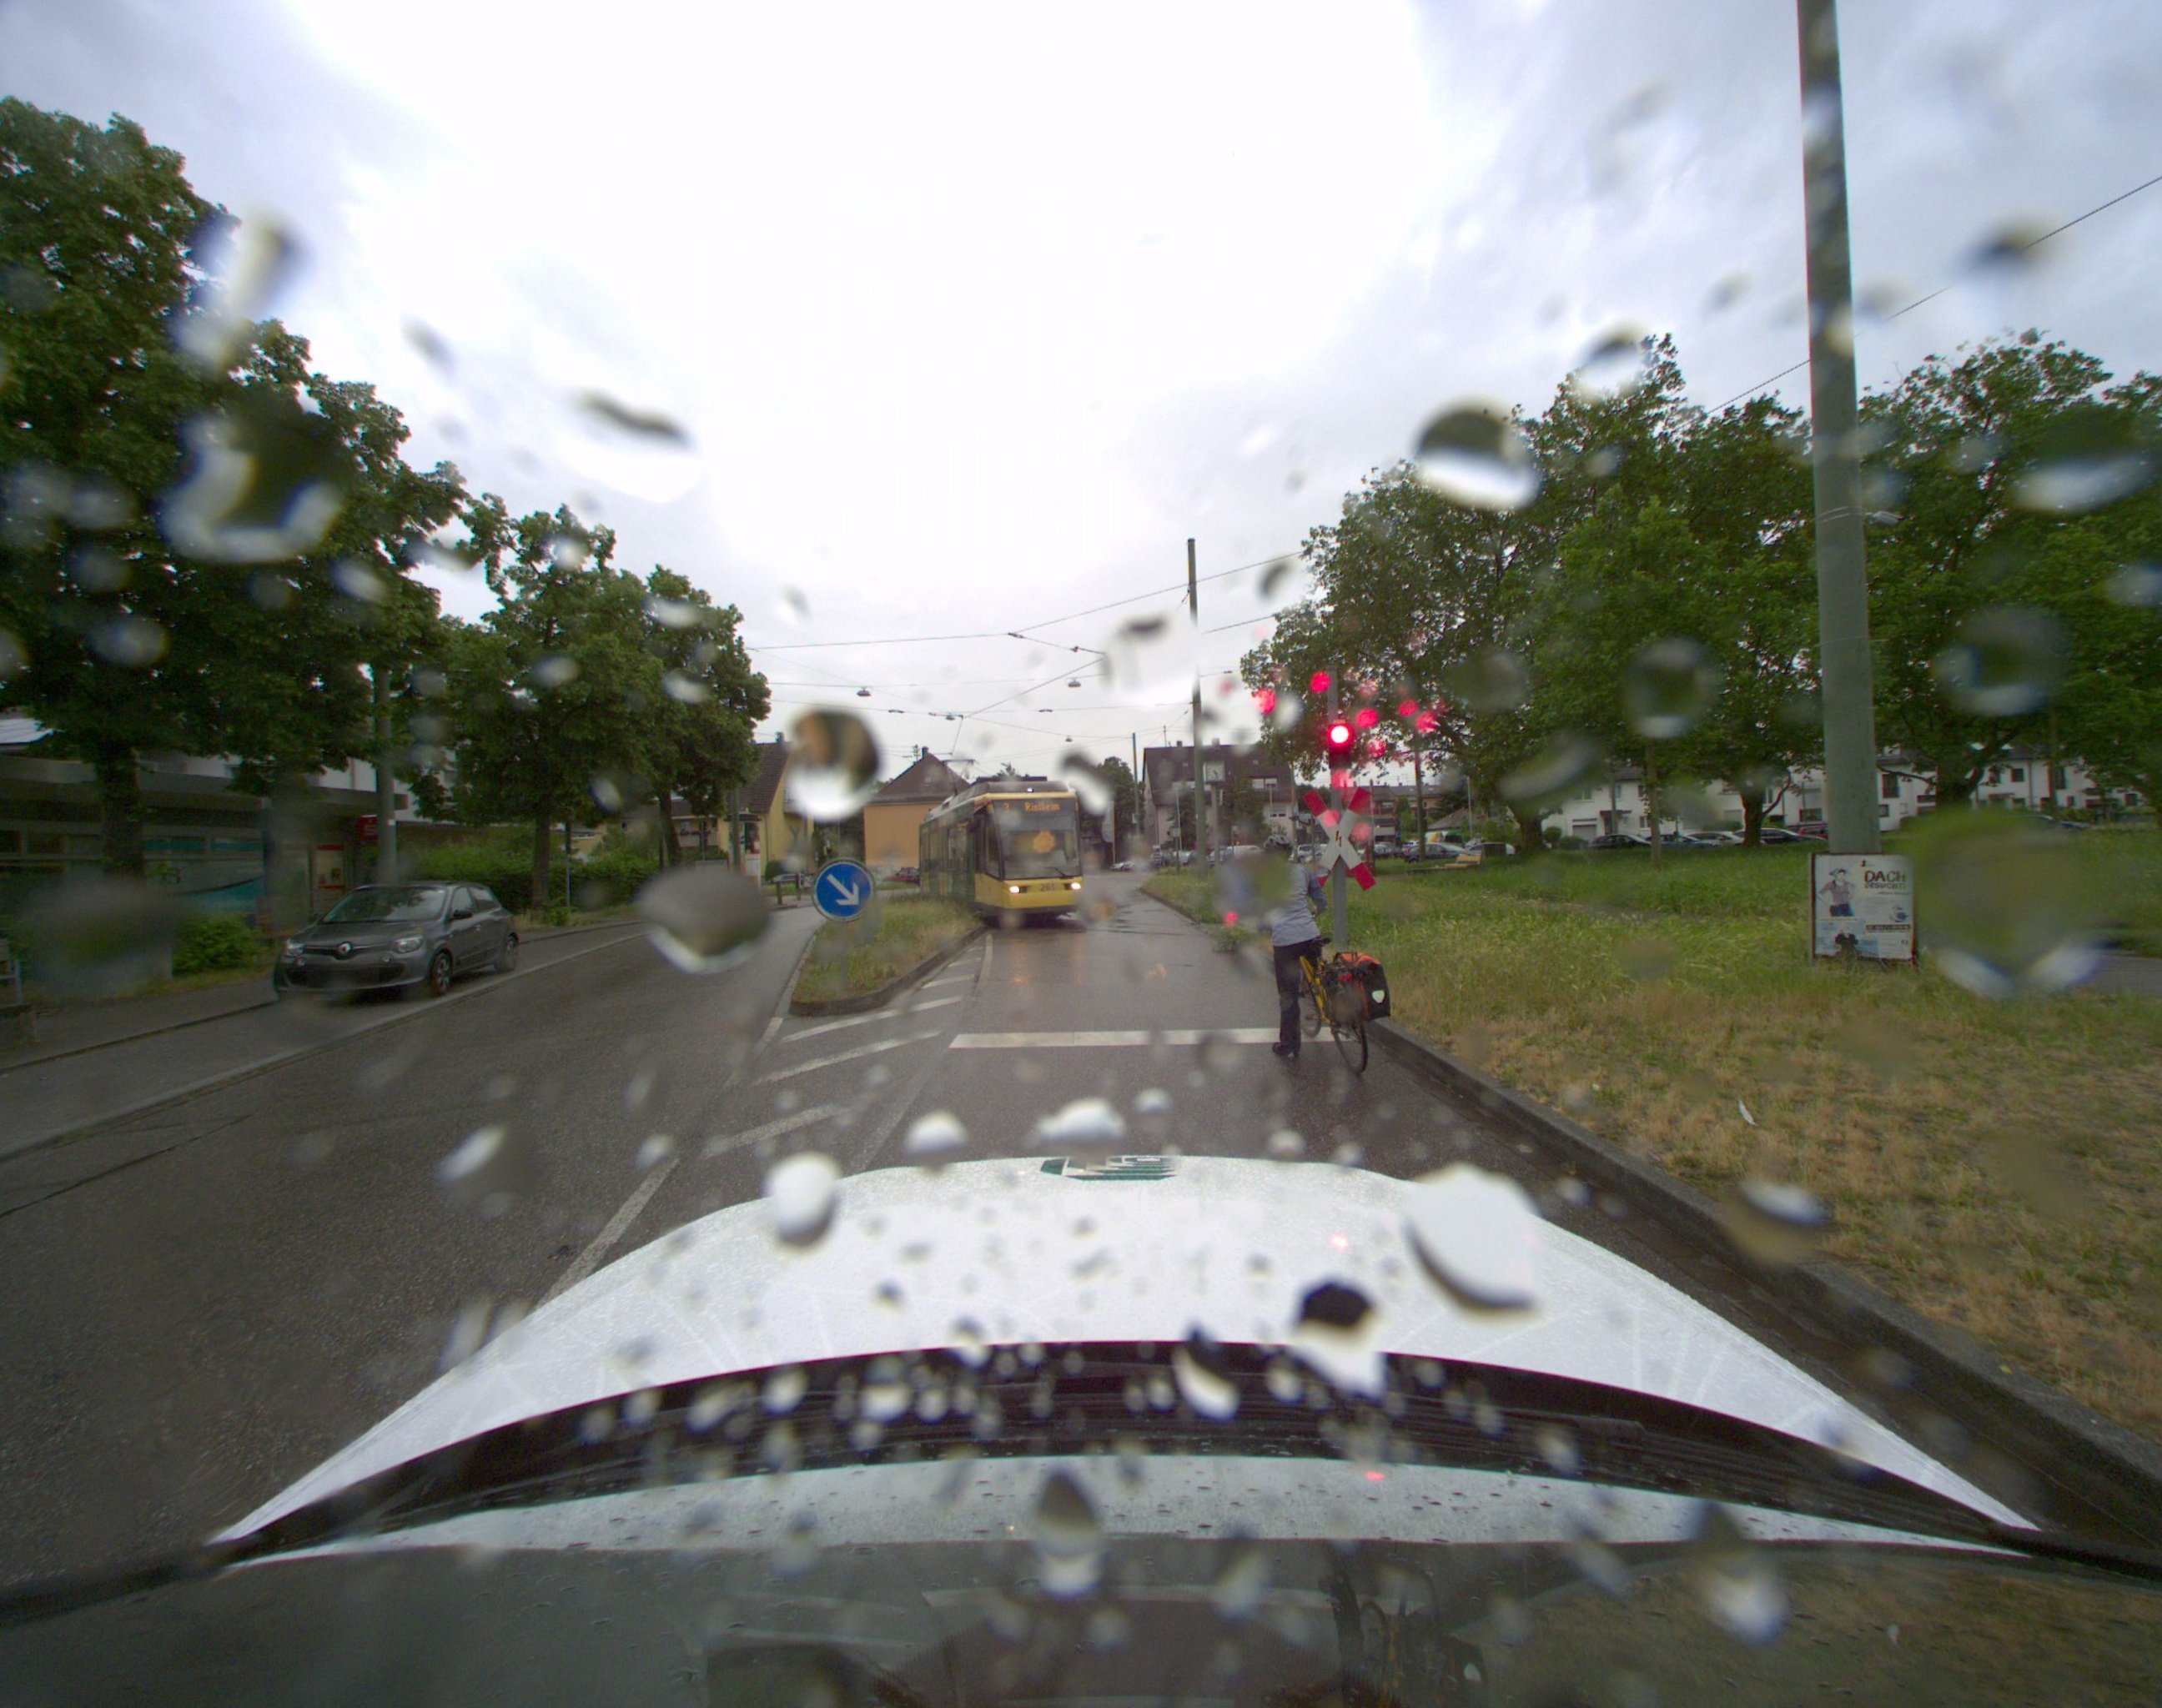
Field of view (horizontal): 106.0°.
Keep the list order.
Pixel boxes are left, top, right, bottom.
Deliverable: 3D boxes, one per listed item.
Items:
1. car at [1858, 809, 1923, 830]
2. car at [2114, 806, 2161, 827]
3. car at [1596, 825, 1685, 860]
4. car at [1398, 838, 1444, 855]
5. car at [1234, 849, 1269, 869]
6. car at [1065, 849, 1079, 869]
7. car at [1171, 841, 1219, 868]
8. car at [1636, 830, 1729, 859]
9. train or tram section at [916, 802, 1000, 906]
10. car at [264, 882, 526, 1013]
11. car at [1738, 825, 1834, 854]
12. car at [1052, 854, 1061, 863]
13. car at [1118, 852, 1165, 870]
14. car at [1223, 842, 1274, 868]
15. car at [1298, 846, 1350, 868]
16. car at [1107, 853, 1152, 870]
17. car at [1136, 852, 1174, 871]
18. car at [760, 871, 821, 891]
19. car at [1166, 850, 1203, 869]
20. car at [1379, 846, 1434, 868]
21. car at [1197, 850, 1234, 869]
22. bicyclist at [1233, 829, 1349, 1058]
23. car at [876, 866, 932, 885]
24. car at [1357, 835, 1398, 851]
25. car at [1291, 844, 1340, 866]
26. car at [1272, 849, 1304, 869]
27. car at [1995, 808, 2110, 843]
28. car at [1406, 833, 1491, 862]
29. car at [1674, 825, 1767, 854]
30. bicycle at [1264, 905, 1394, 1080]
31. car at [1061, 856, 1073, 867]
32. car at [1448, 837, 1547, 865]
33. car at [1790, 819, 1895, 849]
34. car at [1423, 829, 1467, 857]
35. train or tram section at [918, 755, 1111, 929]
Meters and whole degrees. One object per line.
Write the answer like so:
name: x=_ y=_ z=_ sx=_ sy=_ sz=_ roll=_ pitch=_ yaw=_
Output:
car: x=70.001 y=-2.993 z=70.454 sx=3.670 sy=1.660 sz=1.891 roll=0 pitch=-1 yaw=2
car: x=89.730 y=-3.157 z=68.332 sx=3.670 sy=1.660 sz=1.891 roll=0 pitch=-1 yaw=2
car: x=30.544 y=-0.608 z=44.533 sx=1.821 sy=1.798 sz=3.721 roll=0 pitch=-1 yaw=-44
car: x=35.427 y=-0.770 z=84.946 sx=3.971 sy=1.640 sz=1.847 roll=0 pitch=-1 yaw=2
car: x=14.746 y=0.463 z=70.391 sx=1.975 sy=1.640 sz=4.024 roll=-1 pitch=-1 yaw=27
car: x=-1.129 y=0.682 z=108.276 sx=1.799 sy=2.627 sz=3.999 roll=0 pitch=-1 yaw=0
car: x=11.183 y=0.029 z=79.717 sx=4.362 sy=2.566 sz=2.008 roll=-1 pitch=-1 yaw=16
car: x=33.206 y=-0.472 z=44.991 sx=1.821 sy=1.495 sz=3.867 roll=0 pitch=-1 yaw=-44
train or tram section: x=-4.808 y=0.016 z=31.091 sx=2.762 sy=3.553 sz=4.968 roll=-2 pitch=0 yaw=-12
car: x=-9.681 y=1.200 z=11.878 sx=1.621 sy=1.496 sz=3.645 roll=0 pitch=-1 yaw=-18
car: x=39.268 y=-0.777 z=45.409 sx=1.821 sy=1.495 sz=3.867 roll=0 pitch=-1 yaw=-44
car: x=-4.931 y=0.936 z=164.999 sx=1.799 sy=1.811 sz=3.999 roll=0 pitch=-1 yaw=0
car: x=5.717 y=0.663 z=76.896 sx=4.015 sy=1.675 sz=1.979 roll=0 pitch=-1 yaw=-34
car: x=15.632 y=0.081 z=76.040 sx=4.381 sy=2.325 sz=1.999 roll=0 pitch=-1 yaw=-1
car: x=19.317 y=0.261 z=64.809 sx=3.670 sy=1.701 sz=1.891 roll=0 pitch=-1 yaw=2
car: x=4.747 y=0.766 z=79.989 sx=4.015 sy=1.643 sz=1.979 roll=0 pitch=-1 yaw=-34
car: x=6.653 y=0.655 z=72.780 sx=1.975 sy=1.640 sz=4.024 roll=-1 pitch=-1 yaw=27
car: x=-22.104 y=2.046 z=62.026 sx=3.979 sy=1.456 sz=1.831 roll=0 pitch=-1 yaw=-5
car: x=9.099 y=0.515 z=71.476 sx=1.975 sy=1.640 sz=4.024 roll=-1 pitch=-1 yaw=27
car: x=25.898 y=0.215 z=64.953 sx=3.670 sy=1.701 sz=1.891 roll=0 pitch=-1 yaw=2
car: x=11.631 y=0.484 z=70.246 sx=1.975 sy=1.640 sz=4.024 roll=-1 pitch=-1 yaw=27
bicyclist: x=1.576 y=0.640 z=6.222 sx=0.665 sy=1.626 sz=0.853 roll=0 pitch=-1 yaw=0
car: x=-13.658 y=1.666 z=63.071 sx=3.979 sy=1.456 sz=1.831 roll=0 pitch=-1 yaw=-5
car: x=33.146 y=-1.224 z=91.037 sx=3.968 sy=1.791 sz=2.002 roll=0 pitch=-1 yaw=4
car: x=21.814 y=0.091 z=75.928 sx=3.974 sy=1.951 sz=1.999 roll=0 pitch=-1 yaw=-1
car: x=17.980 y=0.443 z=70.704 sx=1.823 sy=1.640 sz=4.024 roll=-1 pitch=-1 yaw=27
car: x=54.638 y=-1.574 z=45.860 sx=1.815 sy=1.765 sz=3.879 roll=0 pitch=-1 yaw=-29
car: x=20.159 y=-0.318 z=44.799 sx=1.821 sy=1.495 sz=3.867 roll=0 pitch=-1 yaw=-44
car: x=35.710 y=-0.750 z=45.521 sx=1.821 sy=1.495 sz=3.867 roll=0 pitch=-1 yaw=-44
bicycle: x=1.798 y=0.949 z=6.138 sx=0.444 sy=1.004 sz=1.728 roll=-2 pitch=0 yaw=1
car: x=-2.229 y=1.169 z=128.187 sx=1.799 sy=1.811 sz=3.999 roll=0 pitch=-1 yaw=0
car: x=20.508 y=-0.126 z=40.248 sx=3.964 sy=1.285 sz=1.851 roll=-1 pitch=-1 yaw=9
car: x=42.631 y=-1.085 z=45.683 sx=1.814 sy=1.495 sz=3.881 roll=0 pitch=-1 yaw=-27
car: x=32.578 y=-0.963 z=72.994 sx=1.987 sy=2.443 sz=4.354 roll=0 pitch=-1 yaw=1
train or tram section: x=-2.523 y=-0.156 z=22.939 sx=2.767 sy=3.553 sz=12.131 roll=-2 pitch=-1 yaw=-17
